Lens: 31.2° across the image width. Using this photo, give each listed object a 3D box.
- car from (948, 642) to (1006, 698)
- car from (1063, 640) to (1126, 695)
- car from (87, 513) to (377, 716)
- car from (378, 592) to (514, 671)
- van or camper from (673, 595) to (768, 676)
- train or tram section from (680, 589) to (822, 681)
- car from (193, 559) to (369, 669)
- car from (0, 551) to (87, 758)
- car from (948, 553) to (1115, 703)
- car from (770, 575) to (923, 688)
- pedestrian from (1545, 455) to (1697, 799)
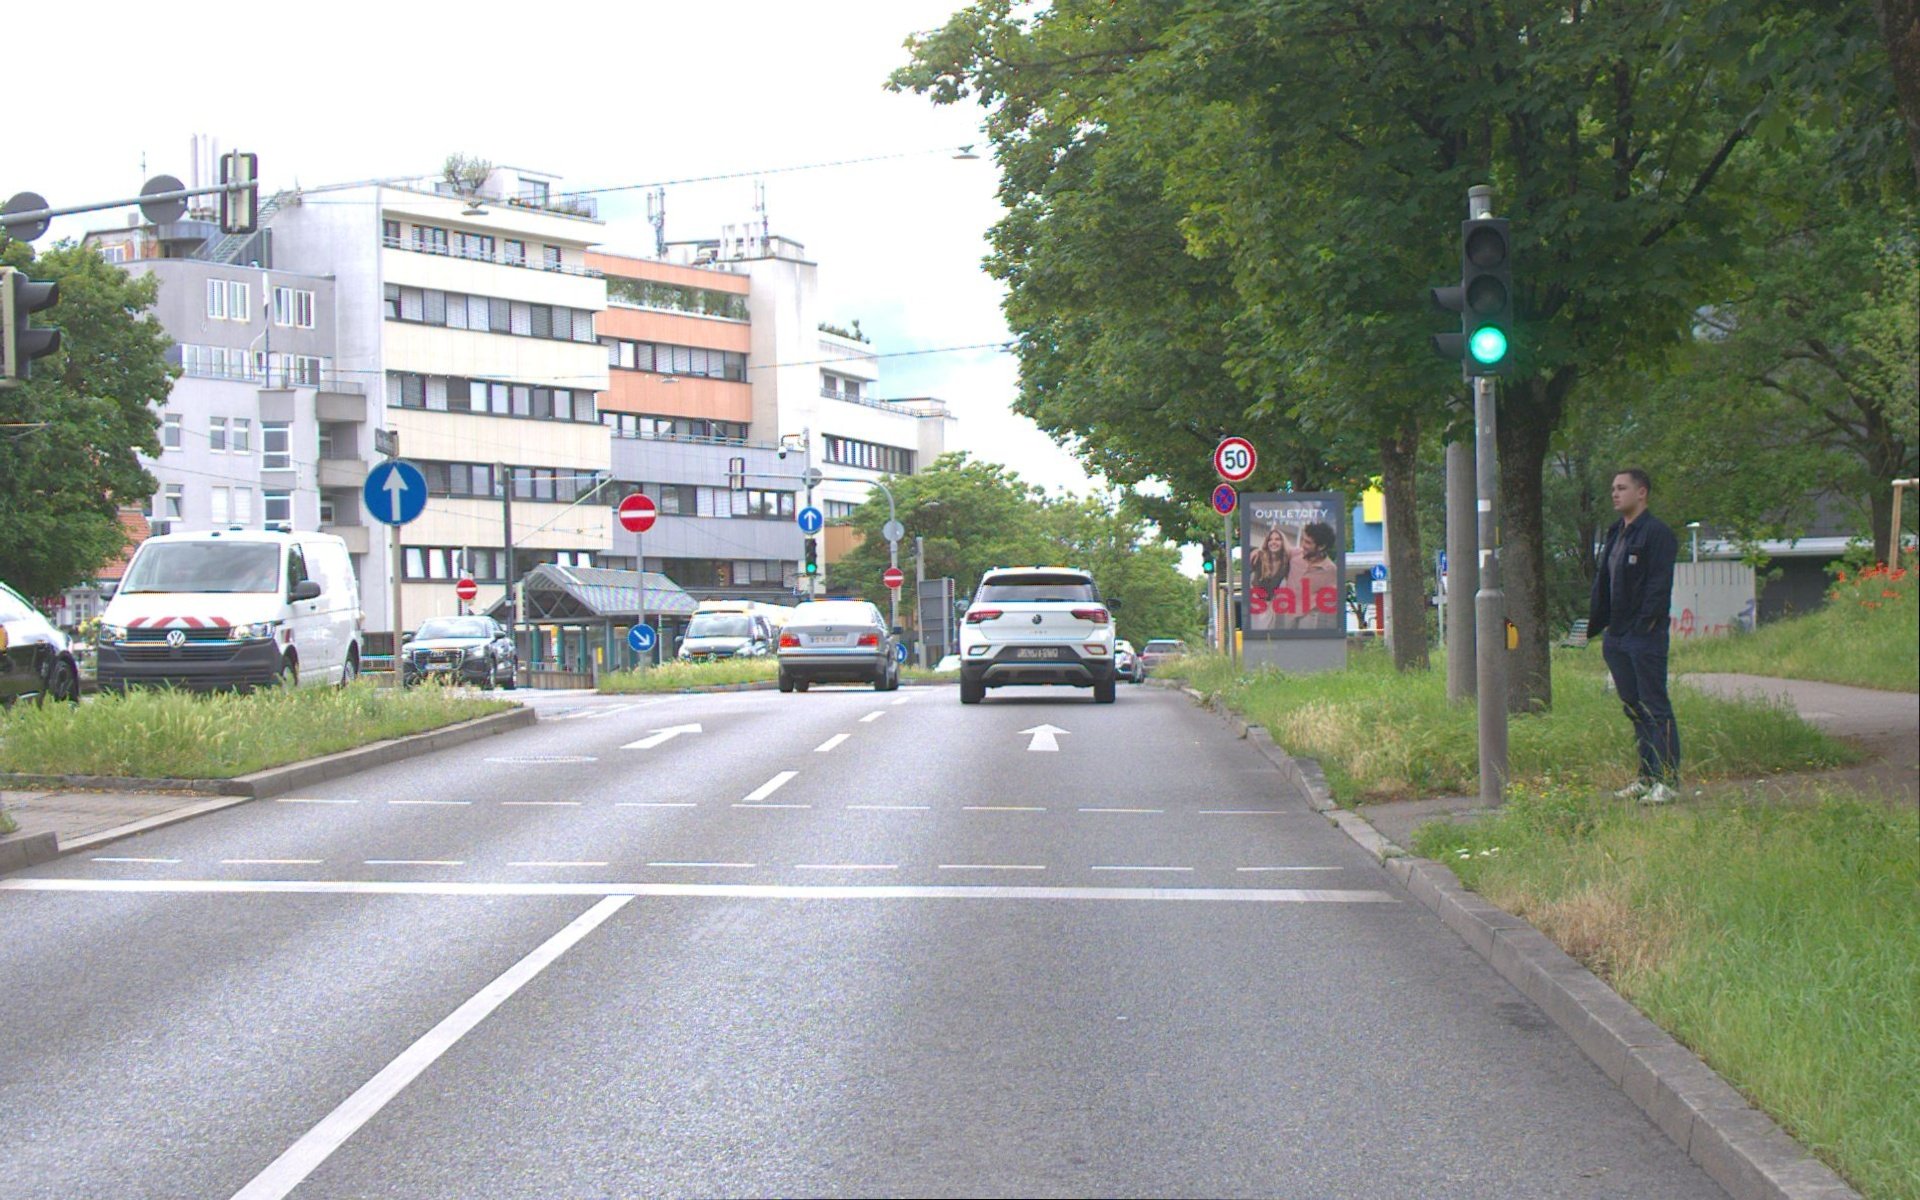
[{"bbox_3d":[0.657,2.593,128.412,1.994,1.584,4.835,1,5,2],"label":"car"},{"bbox_3d":[4.375,2.173,112.020,1.770,1.565,4.285,-1,2,-1],"label":"car"},{"bbox_3d":[-7.587,0.094,36.308,1.836,1.995,4.857,0,1,2],"label":"car"},{"bbox_3d":[-9.827,0.584,65.974,1.861,1.423,4.000,-1,0,2],"label":"car"},{"bbox_3d":[-5.874,0.881,84.850,1.926,1.931,5.248,0,-1,1],"label":"van or camper"},{"bbox_3d":[-8.102,1.455,135.592,2.560,3.399,13.075,-2,-2,10],"label":"train or tram section"},{"bbox_3d":[-9.783,0.204,49.799,1.744,1.459,4.000,-2,0,-1],"label":"car"},{"bbox_3d":[-7.848,0.429,25.023,1.777,1.476,4.481,-2,1,0],"label":"car"},{"bbox_3d":[0.880,0.281,40.114,1.700,1.543,3.736,2,2,4],"label":"car"},{"bbox_3d":[-1.678,0.450,52.028,1.700,1.510,3.735,-1,2,7],"label":"car"},{"bbox_3d":[3.643,0.140,18.966,0.642,1.849,0.673,-1,1,-4],"label":"pedestrian"}]
